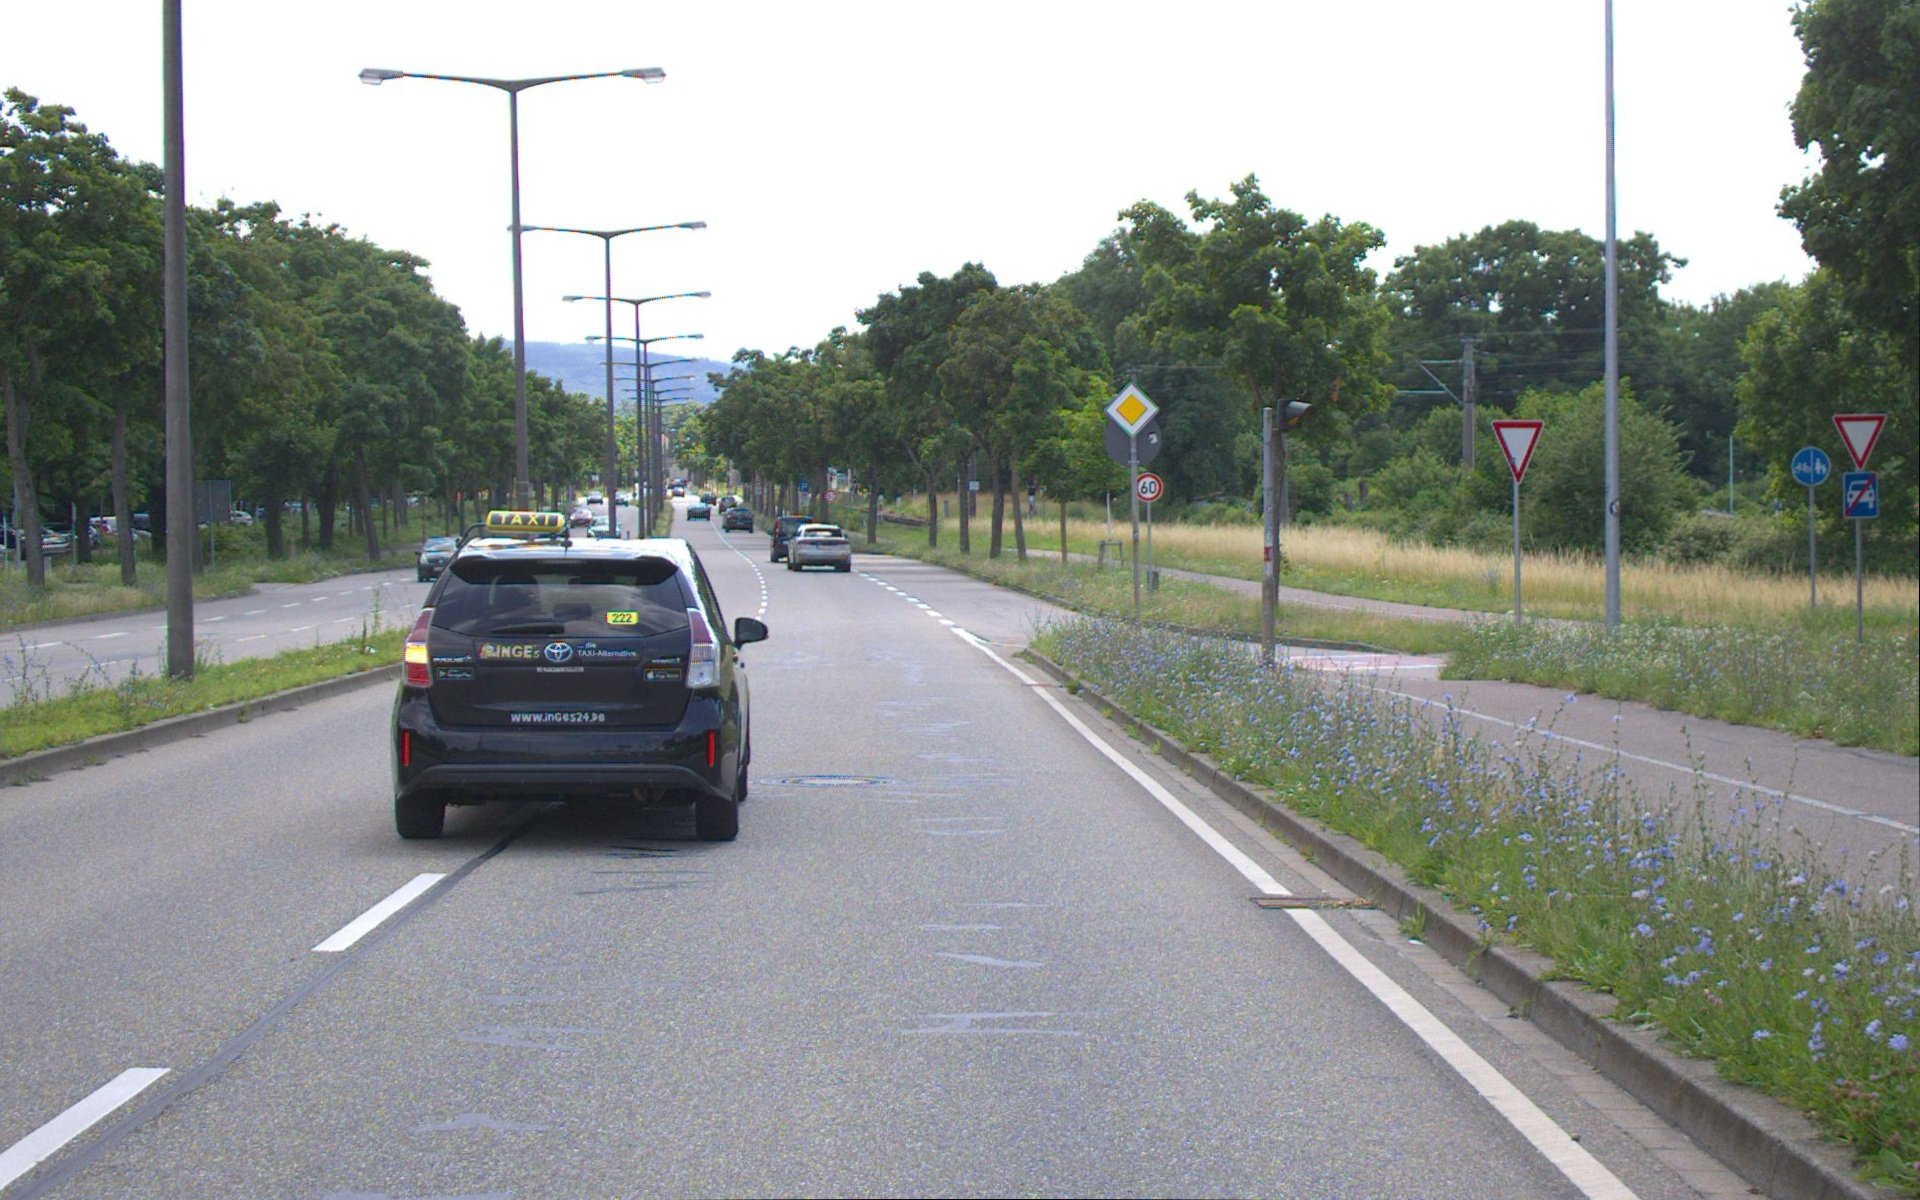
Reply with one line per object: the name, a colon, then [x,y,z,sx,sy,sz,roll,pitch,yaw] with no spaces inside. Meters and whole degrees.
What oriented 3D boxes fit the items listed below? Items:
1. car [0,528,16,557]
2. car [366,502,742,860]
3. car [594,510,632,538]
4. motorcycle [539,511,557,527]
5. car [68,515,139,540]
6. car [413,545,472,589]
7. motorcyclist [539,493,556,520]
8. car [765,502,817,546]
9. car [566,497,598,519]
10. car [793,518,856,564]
car: [-48.094,-2.823,167.371,3.785,1.383,1.786,1,2,0]
car: [-2.096,0.340,18.677,1.779,1.678,4.001,1,2,-3]
car: [-18.405,-4.040,182.336,1.810,1.393,4.735,-1,2,-4]
motorcycle: [-21.827,-4.280,182.063,0.751,0.769,2.672,1,2,-3]
car: [-51.025,-4.324,204.792,3.785,1.383,1.786,1,2,0]
car: [-17.221,-1.111,114.333,1.700,1.422,3.676,-1,1,-12]
motorcyclist: [-21.836,-4.969,181.955,0.827,1.409,1.329,1,2,-3]
car: [-6.642,-3.002,135.181,1.993,1.656,4.001,1,2,-3]
car: [-27.602,-6.711,251.019,1.879,1.503,3.798,1,2,0]
car: [-4.781,-2.102,121.295,1.993,1.503,4.001,1,2,-5]
